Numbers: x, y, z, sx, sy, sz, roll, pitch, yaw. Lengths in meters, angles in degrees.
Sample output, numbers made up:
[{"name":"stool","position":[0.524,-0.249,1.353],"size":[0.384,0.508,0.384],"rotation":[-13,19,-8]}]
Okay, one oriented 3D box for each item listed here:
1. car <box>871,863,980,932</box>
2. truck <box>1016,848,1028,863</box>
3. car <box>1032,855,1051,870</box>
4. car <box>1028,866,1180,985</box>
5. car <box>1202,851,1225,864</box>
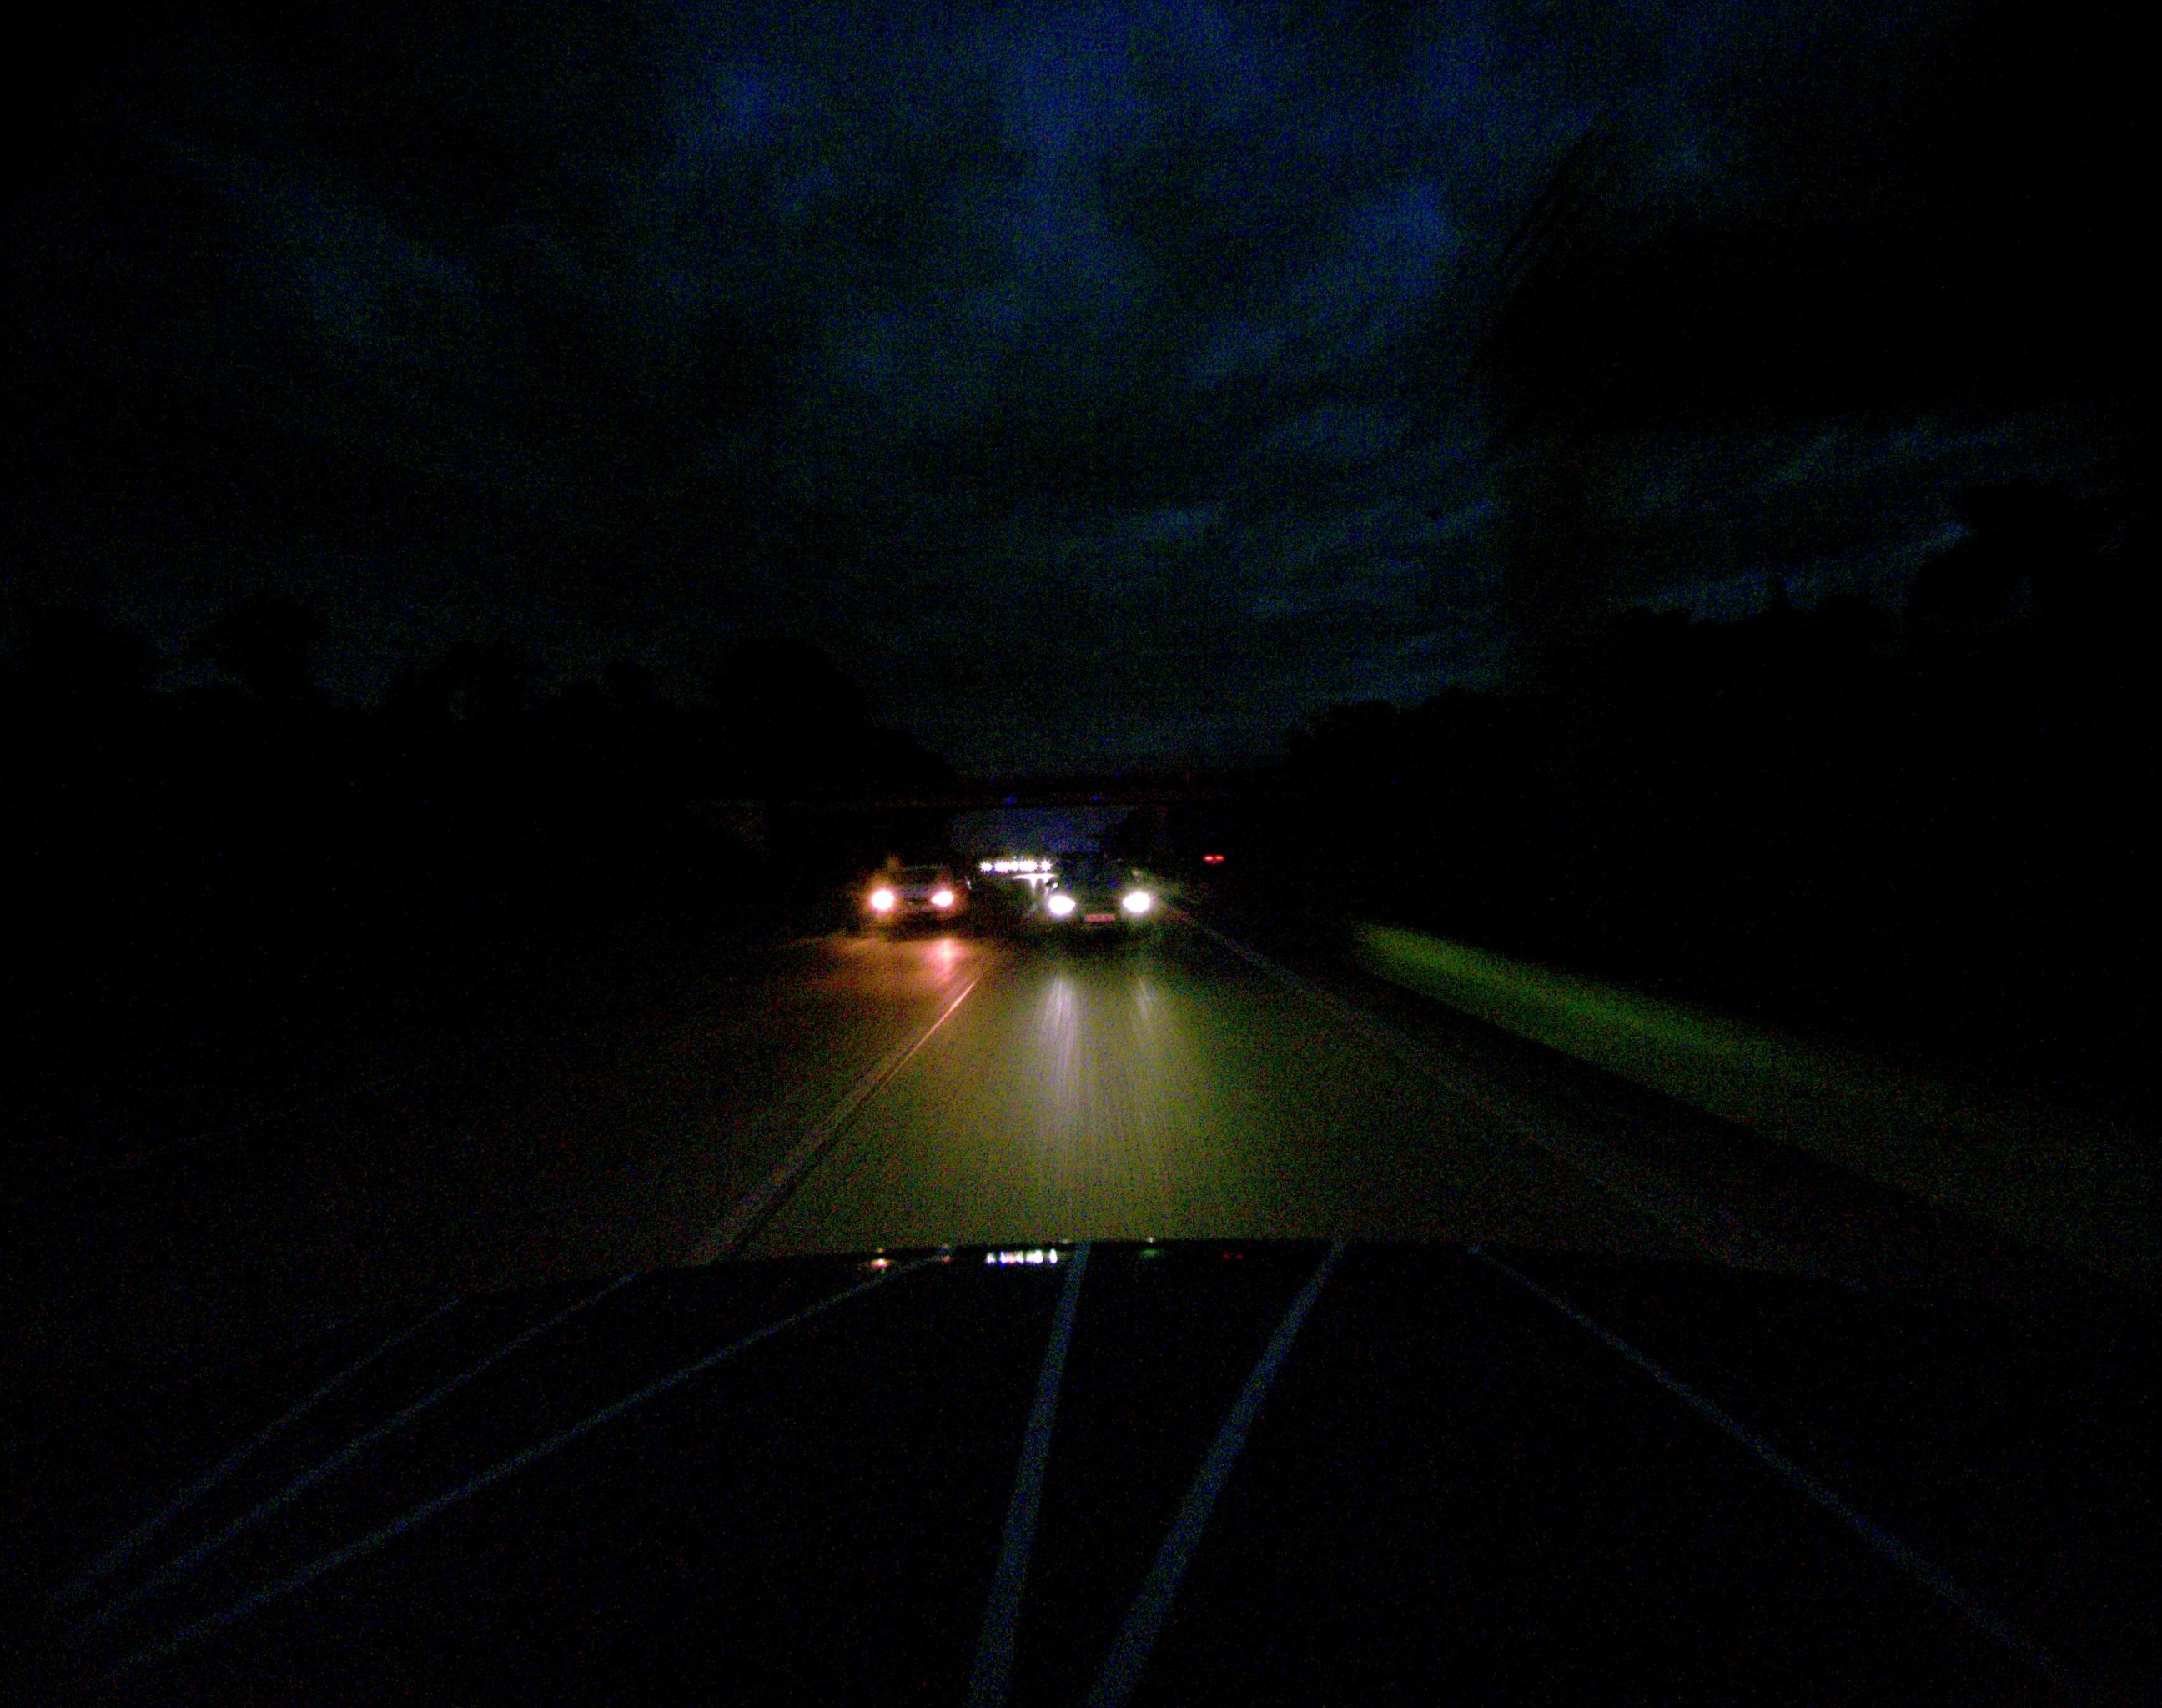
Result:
[{"name":"car","position":[-3.882,1.027,19.850],"size":[1.814,1.457,5.131],"rotation":[-2,0,-1]},{"name":"truck","position":[-17.286,0.541,221.315],"size":[3.146,3.987,10.540],"rotation":[-2,-1,-5]},{"name":"car","position":[-4.243,0.974,82.296],"size":[1.999,1.539,4.000],"rotation":[-2,-1,-2]},{"name":"car","position":[0.276,0.938,11.812],"size":[1.880,1.435,4.451],"rotation":[-2,-1,0]},{"name":"car","position":[15.820,0.445,91.089],"size":[1.816,1.511,4.430],"rotation":[-2,-1,-1]}]
